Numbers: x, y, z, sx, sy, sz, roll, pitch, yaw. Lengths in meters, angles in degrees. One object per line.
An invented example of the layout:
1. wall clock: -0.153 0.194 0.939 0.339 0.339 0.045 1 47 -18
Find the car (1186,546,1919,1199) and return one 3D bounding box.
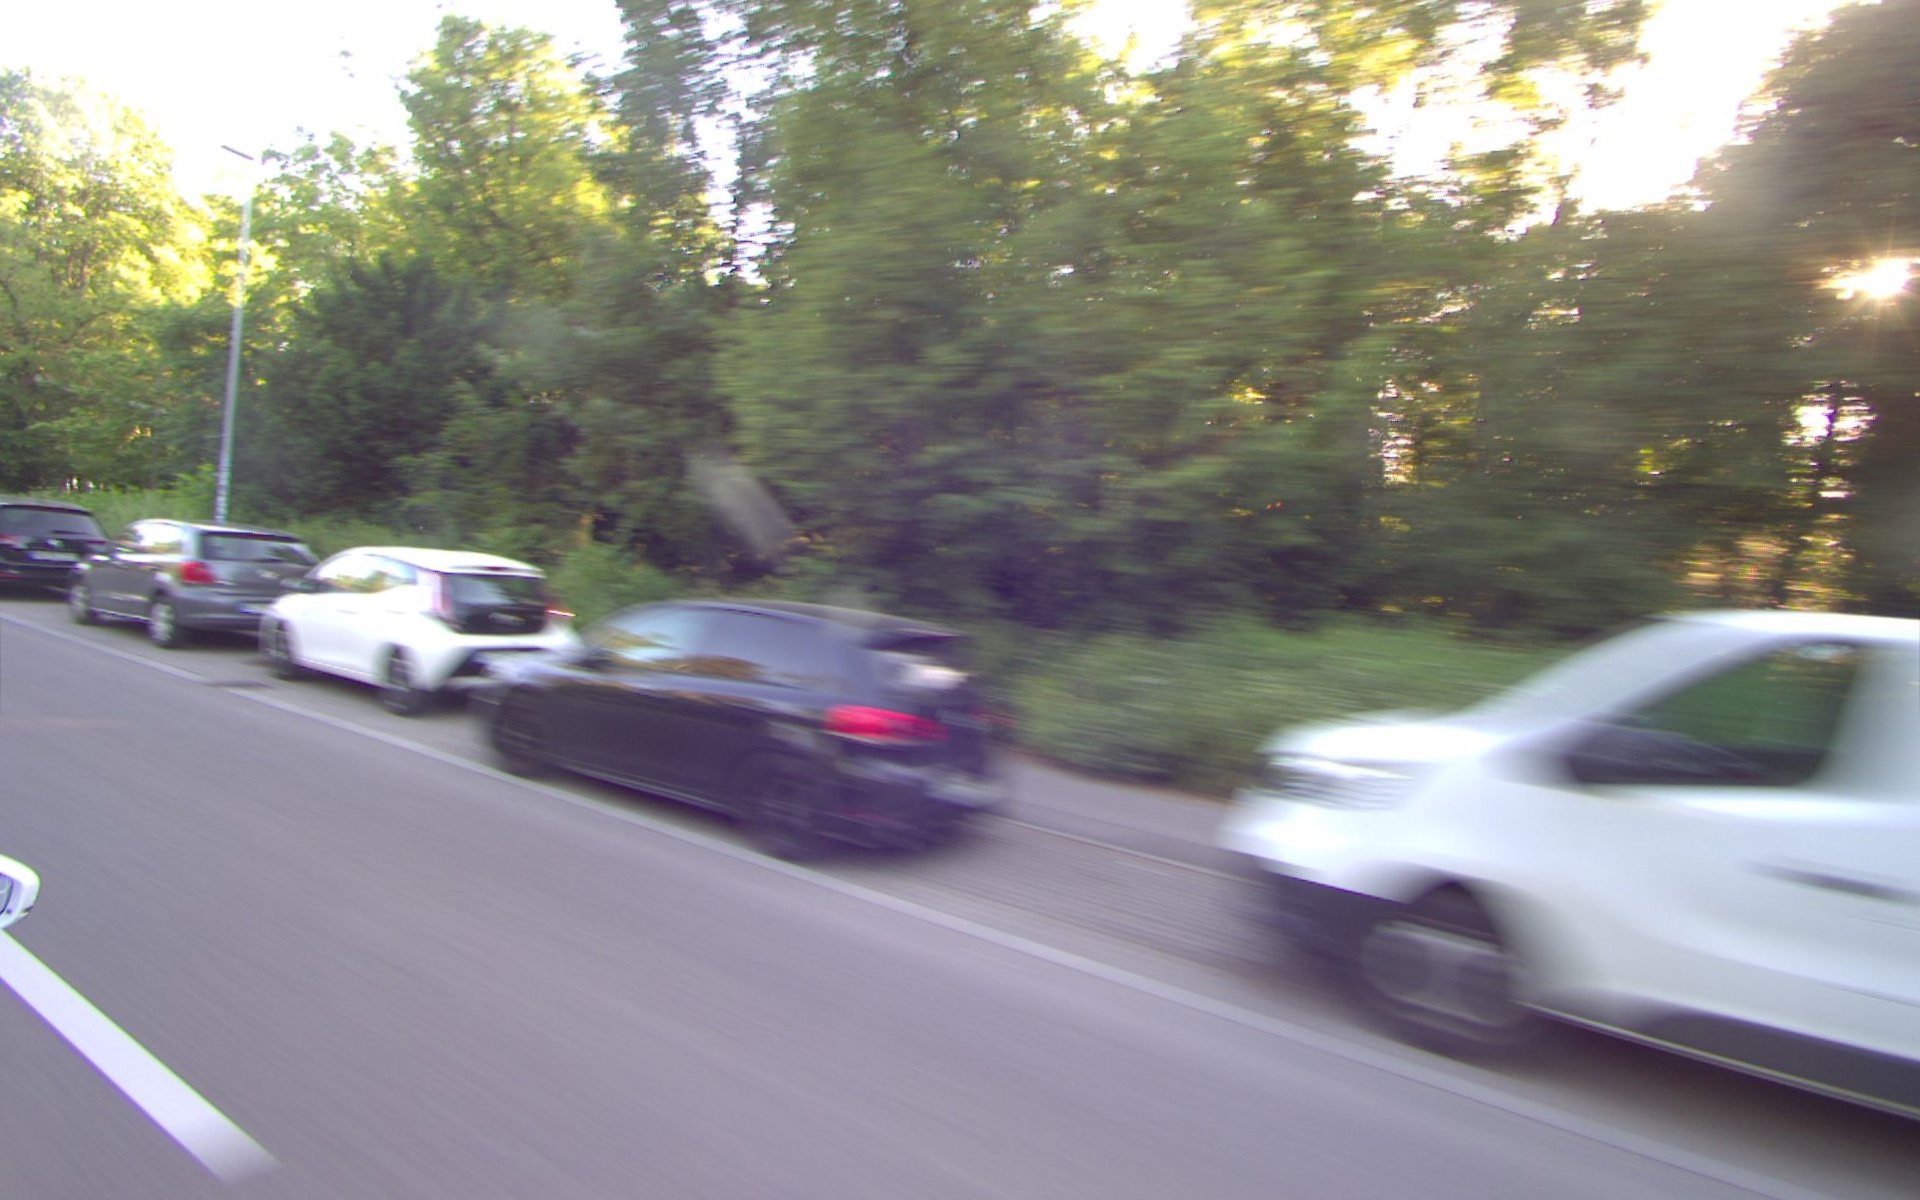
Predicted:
1. car: 3.886 1.049 3.948 5.385 2.007 1.869 6 1 32

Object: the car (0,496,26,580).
1. car: -19.468 -1.364 18.654 4.953 1.472 1.776 6 1 31

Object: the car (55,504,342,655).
1. car: -9.614 -0.282 12.621 3.879 1.472 1.586 6 1 33

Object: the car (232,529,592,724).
1. car: -5.672 0.193 10.289 3.737 1.472 1.586 6 1 33

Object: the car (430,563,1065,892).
1. car: -1.647 0.673 7.227 4.297 1.424 1.869 6 1 32

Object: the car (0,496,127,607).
1. car: -15.056 -0.888 15.665 4.815 1.472 1.638 6 1 31
